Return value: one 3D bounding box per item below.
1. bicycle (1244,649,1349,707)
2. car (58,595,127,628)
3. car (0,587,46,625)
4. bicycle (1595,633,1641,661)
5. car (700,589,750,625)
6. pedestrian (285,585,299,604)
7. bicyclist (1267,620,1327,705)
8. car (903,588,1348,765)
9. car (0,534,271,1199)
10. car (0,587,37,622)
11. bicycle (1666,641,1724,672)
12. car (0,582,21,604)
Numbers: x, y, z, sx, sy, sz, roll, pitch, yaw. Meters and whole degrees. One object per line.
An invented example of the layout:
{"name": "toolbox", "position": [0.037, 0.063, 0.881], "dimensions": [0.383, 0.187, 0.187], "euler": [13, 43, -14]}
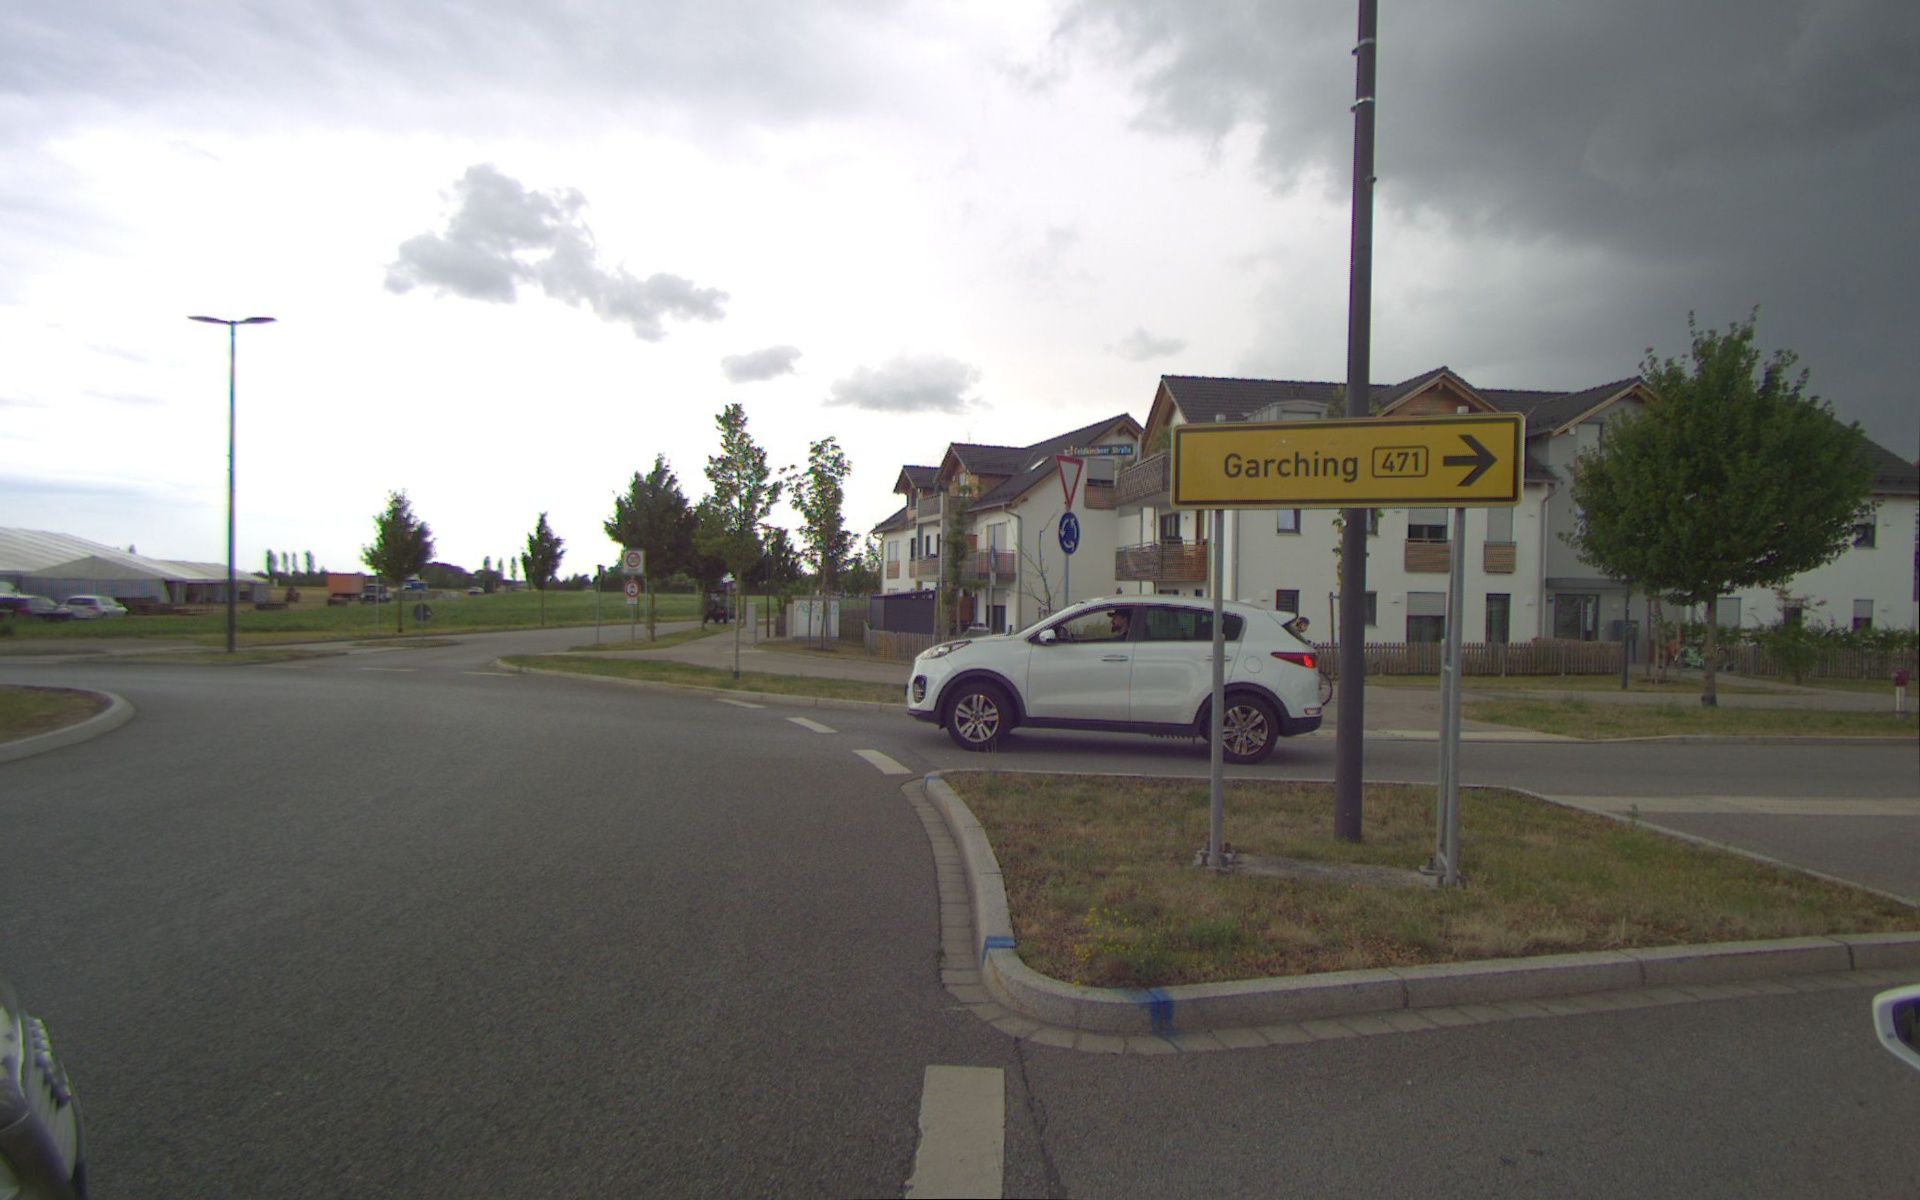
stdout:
{"name": "bicycle", "position": [5.950, 1.375, 17.797], "dimensions": [1.679, 0.959, 0.497], "euler": [1, -1, 4]}
{"name": "car", "position": [-44.450, 0.570, 51.556], "dimensions": [1.709, 1.574, 3.972], "euler": [1, 0, -27]}
{"name": "car", "position": [-42.953, 0.239, 45.069], "dimensions": [3.804, 1.628, 1.634], "euler": [1, 0, 27]}
{"name": "bicycle", "position": [21.794, 1.553, 33.275], "dimensions": [1.312, 0.855, 0.368], "euler": [1, 3, -6]}
{"name": "car", "position": [-15.984, 0.432, 68.663], "dimensions": [1.960, 2.284, 4.572], "euler": [2, 1, 5]}
{"name": "pedestrian", "position": [-74.908, -0.620, 112.683], "dimensions": [1.035, 2.041, 1.056], "euler": [1, 1, -19]}
{"name": "bicyclist", "position": [5.974, 1.088, 17.824], "dimensions": [0.852, 1.466, 0.725], "euler": [1, -1, 4]}
{"name": "car", "position": [1.693, 0.759, 10.861], "dimensions": [4.360, 1.647, 1.715], "euler": [1, -1, 6]}
{"name": "car", "position": [-3.014, 0.553, 0.136], "dimensions": [1.758, 1.484, 4.515], "euler": [4, 1, 43]}
{"name": "car", "position": [-47.619, 0.208, 49.566], "dimensions": [1.809, 1.628, 3.808], "euler": [1, 0, -23]}
{"name": "bicycle", "position": [22.191, 1.710, 30.339], "dimensions": [1.518, 0.855, 0.368], "euler": [1, 3, -6]}
{"name": "car", "position": [-70.670, -0.528, 73.351], "dimensions": [1.808, 1.628, 3.809], "euler": [1, 0, -22]}
